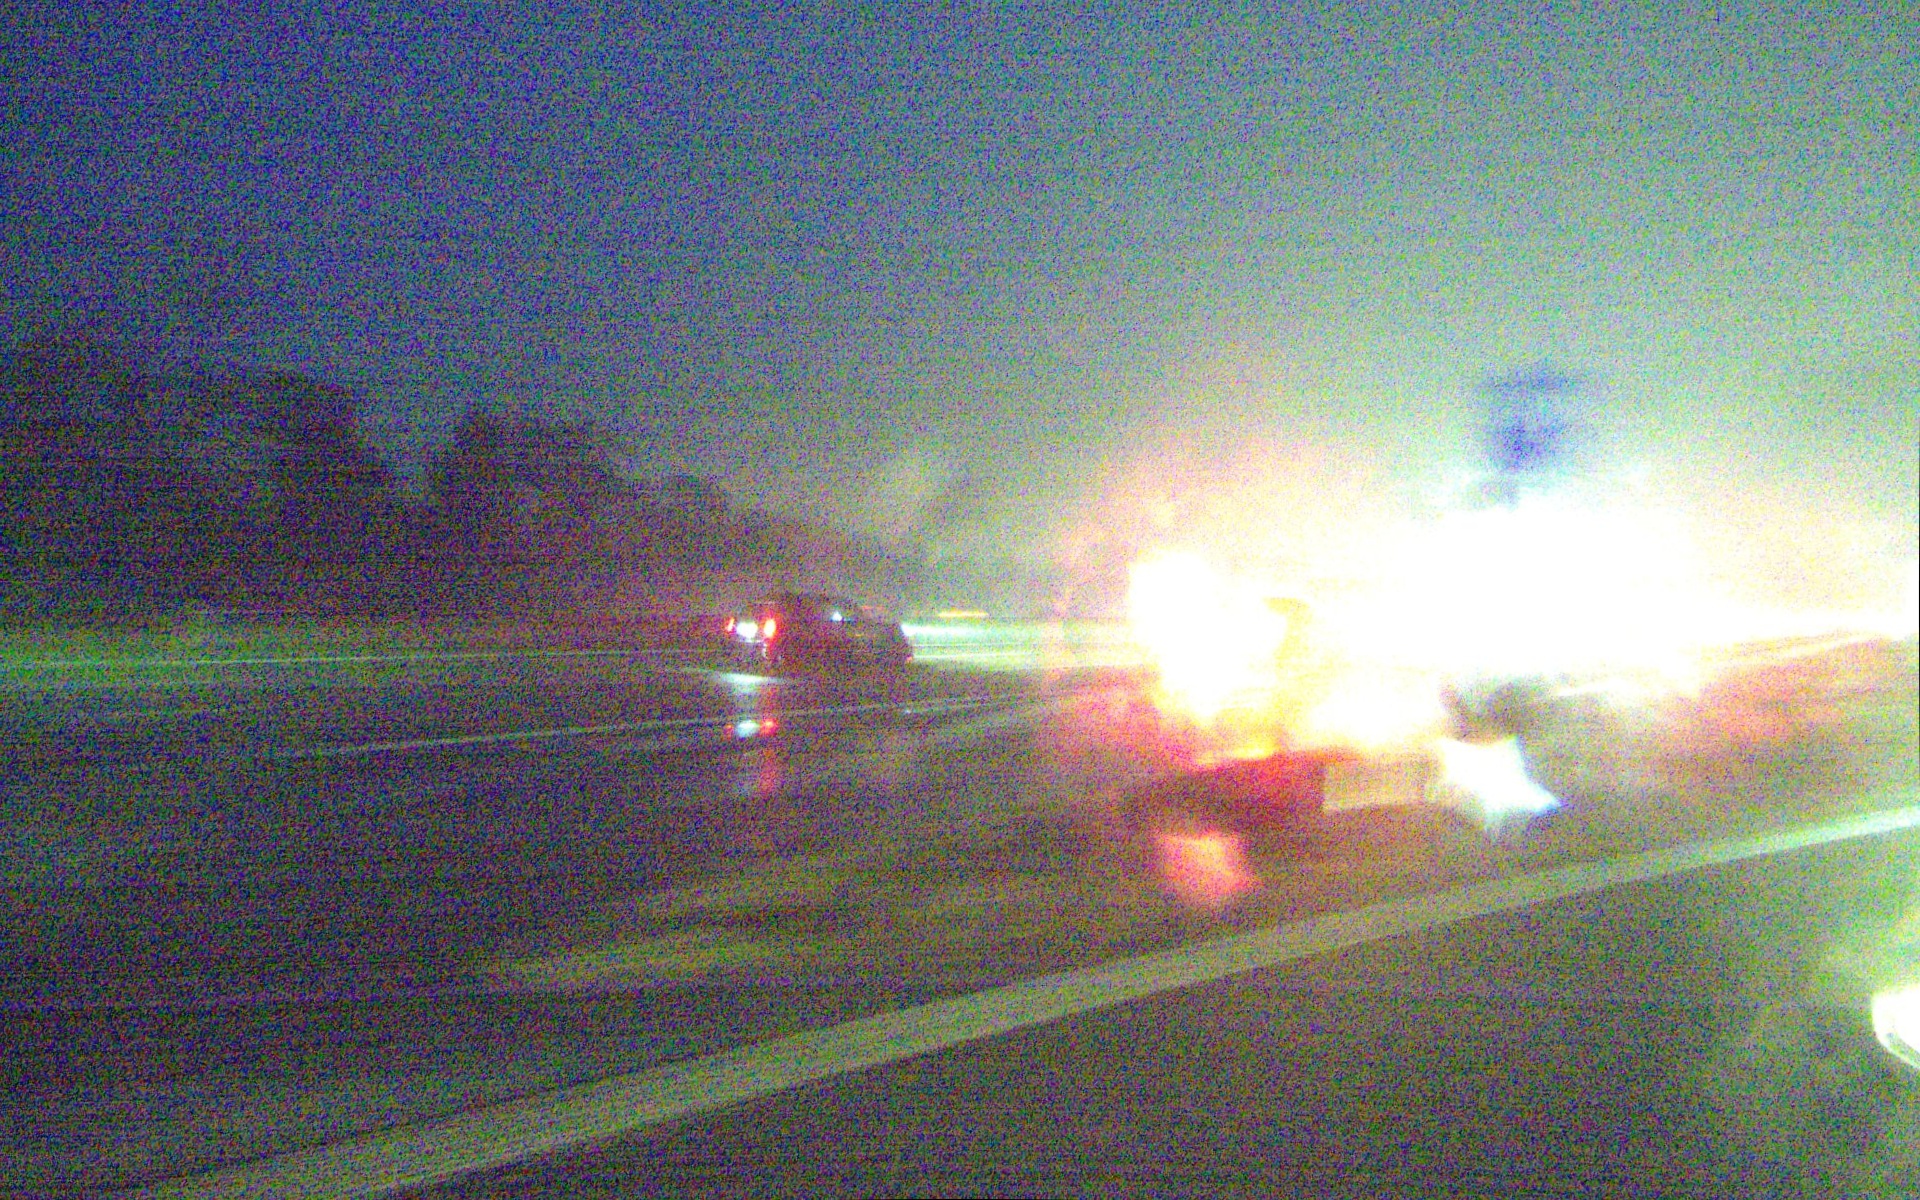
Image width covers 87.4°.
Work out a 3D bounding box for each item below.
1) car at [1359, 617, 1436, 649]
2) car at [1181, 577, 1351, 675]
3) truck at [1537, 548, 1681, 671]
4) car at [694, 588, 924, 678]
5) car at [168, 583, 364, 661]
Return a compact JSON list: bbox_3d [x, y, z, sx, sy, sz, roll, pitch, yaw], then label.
[{"bbox_3d":[22.673,1.701,51.926,1.972,1.496,5.134,4,1,44],"label":"car"},{"bbox_3d":[7.433,0.603,24.132,2.102,2.040,4.622,3,1,41],"label":"car"},{"bbox_3d":[34.026,0.520,52.349,4.165,5.723,11.402,4,1,43],"label":"truck"},{"bbox_3d":[-2.822,0.609,19.308,1.973,1.460,3.976,4,1,44],"label":"car"},{"bbox_3d":[-18.320,0.578,26.605,1.884,1.832,3.975,4,1,44],"label":"car"}]
